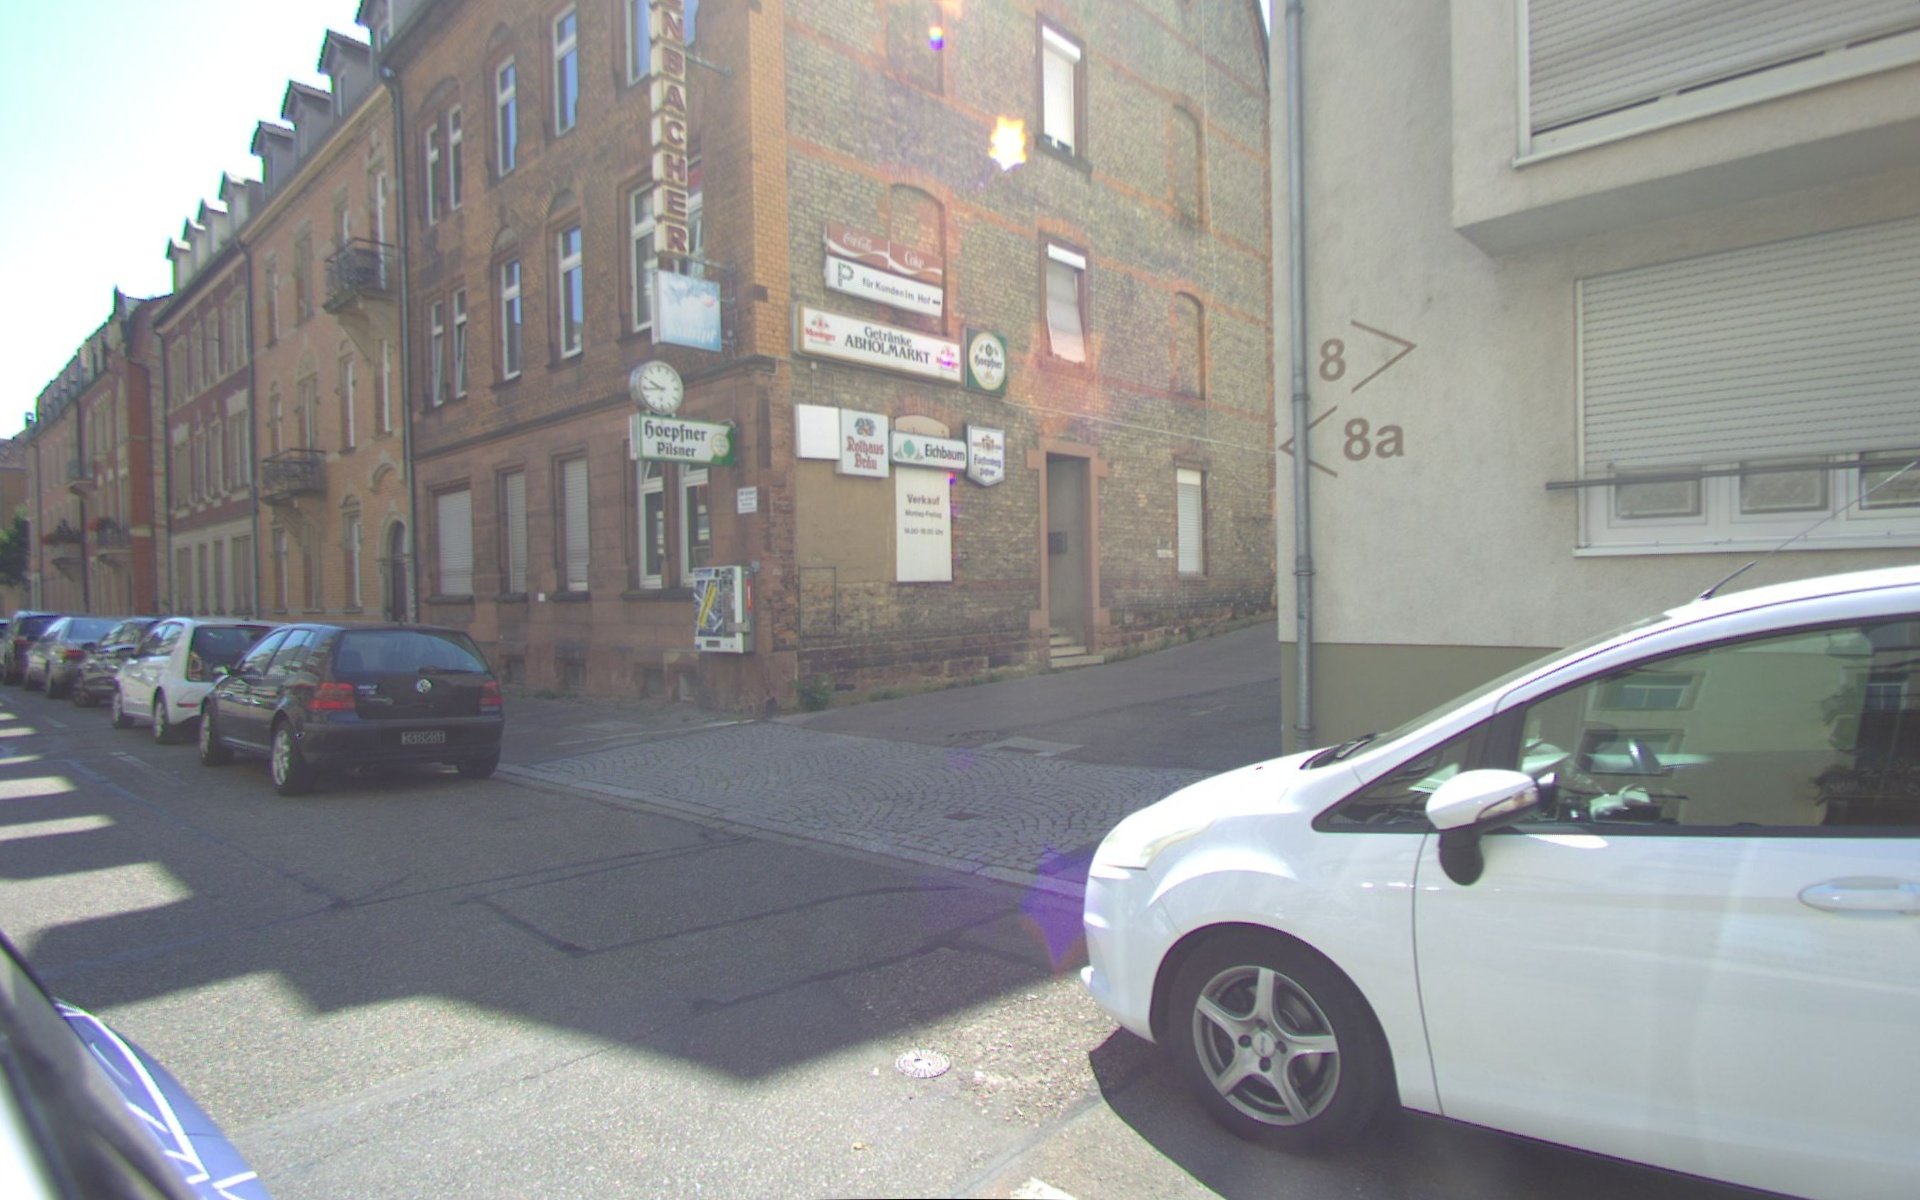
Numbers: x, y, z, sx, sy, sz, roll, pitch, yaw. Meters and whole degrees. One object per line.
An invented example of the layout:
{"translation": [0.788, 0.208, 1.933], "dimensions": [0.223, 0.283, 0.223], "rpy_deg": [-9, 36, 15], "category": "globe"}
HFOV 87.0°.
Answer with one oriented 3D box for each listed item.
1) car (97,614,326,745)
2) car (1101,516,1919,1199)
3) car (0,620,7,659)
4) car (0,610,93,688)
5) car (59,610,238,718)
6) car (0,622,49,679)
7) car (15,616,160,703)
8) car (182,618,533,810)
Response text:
{"translation": [-9.642, 0.940, 12.946], "dimensions": [3.677, 1.440, 1.611], "rpy_deg": [-1, -4, 42], "category": "car"}
{"translation": [2.431, 0.661, 2.448], "dimensions": [3.847, 1.561, 1.613], "rpy_deg": [-1, -4, 38], "category": "car"}
{"translation": [-37.736, 1.496, 37.105], "dimensions": [1.677, 1.441, 3.945], "rpy_deg": [-1, 0, 42], "category": "car"}
{"translation": [-21.187, 1.102, 23.150], "dimensions": [3.523, 1.655, 1.431], "rpy_deg": [-1, -4, 40], "category": "car"}
{"translation": [-13.146, 0.981, 16.338], "dimensions": [3.521, 1.555, 1.432], "rpy_deg": [-1, -4, 38], "category": "car"}
{"translation": [-24.958, 1.283, 26.326], "dimensions": [3.524, 1.410, 1.431], "rpy_deg": [-1, -4, 42], "category": "car"}
{"translation": [-16.500, 1.079, 19.097], "dimensions": [3.522, 1.484, 1.432], "rpy_deg": [-1, -4, 39], "category": "car"}
{"translation": [-5.797, 0.927, 9.561], "dimensions": [3.836, 1.440, 1.758], "rpy_deg": [-1, -4, 42], "category": "car"}
